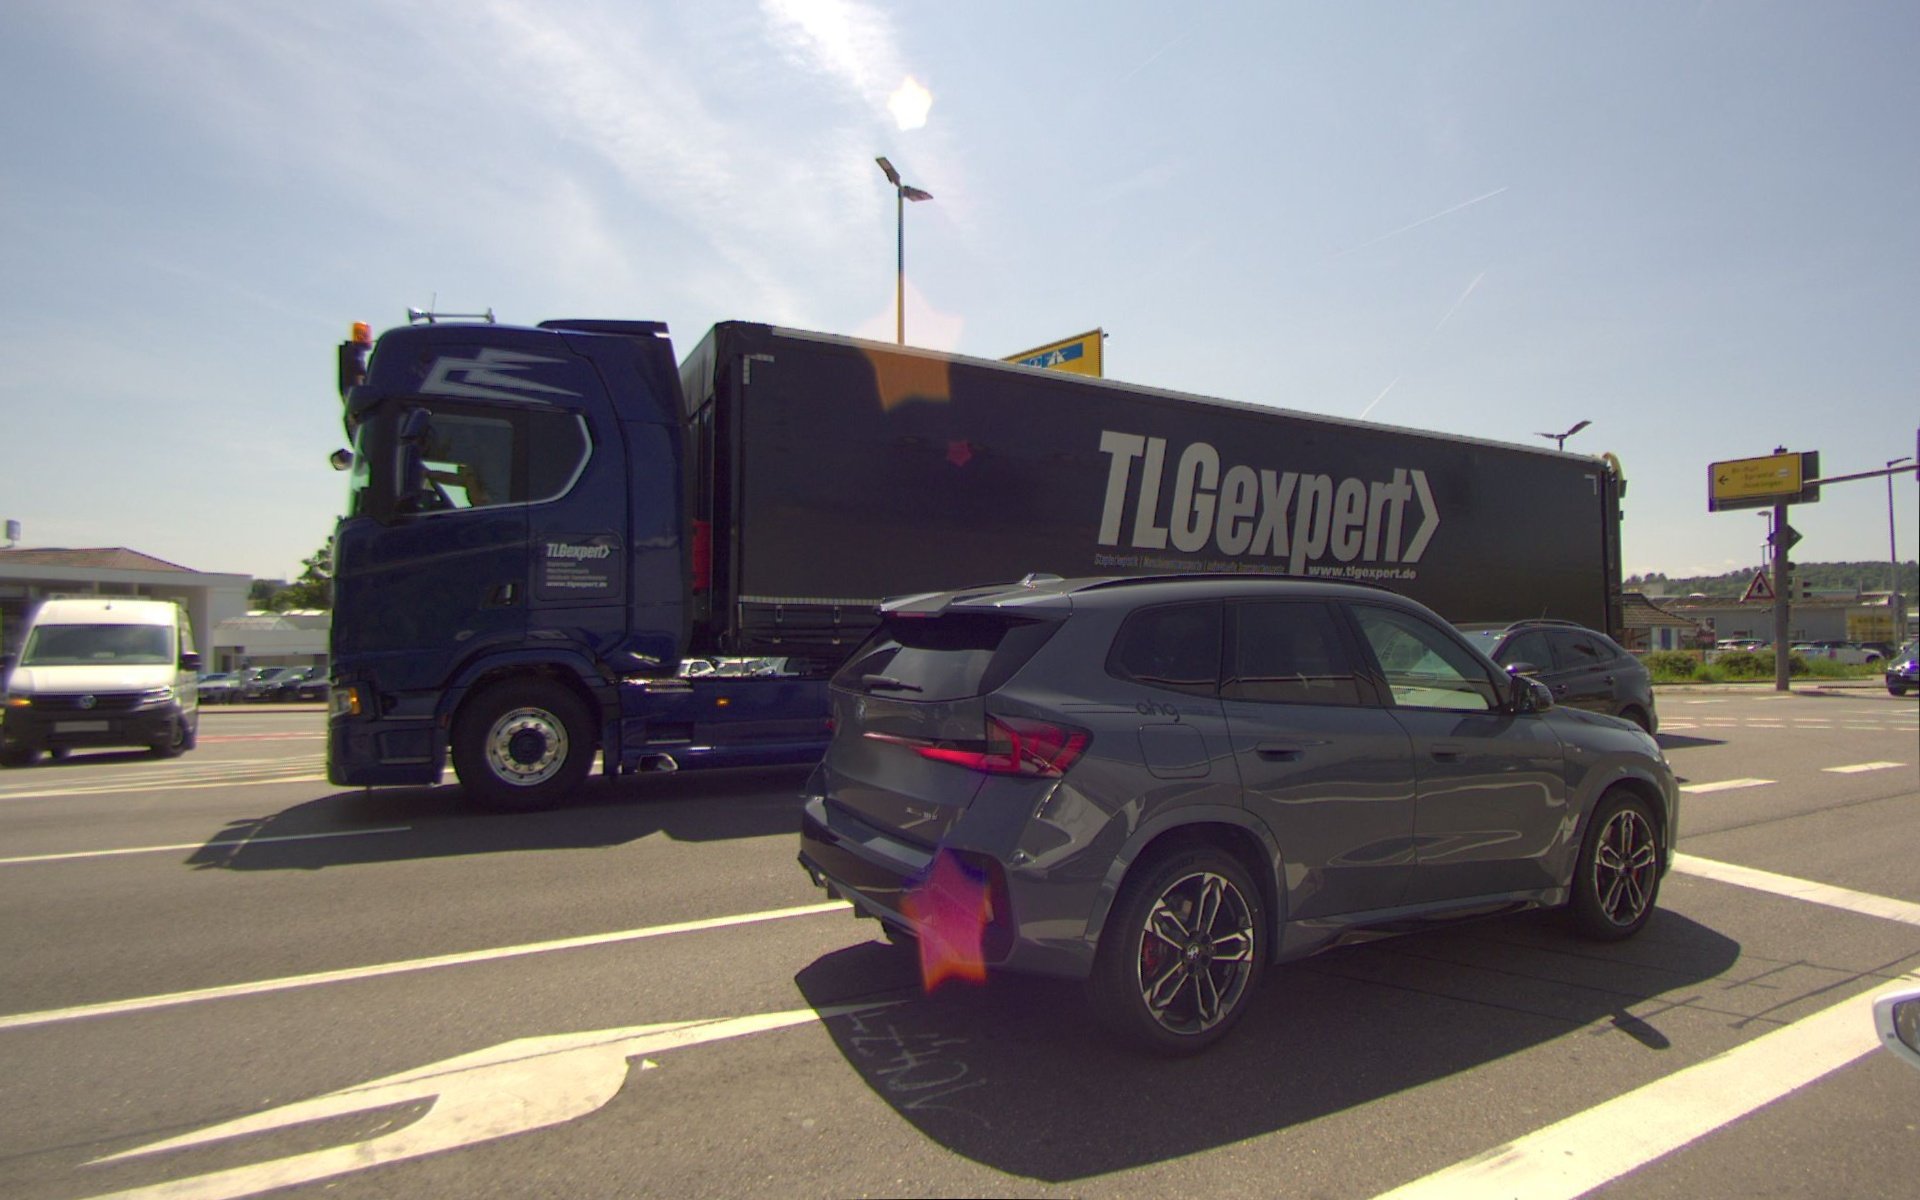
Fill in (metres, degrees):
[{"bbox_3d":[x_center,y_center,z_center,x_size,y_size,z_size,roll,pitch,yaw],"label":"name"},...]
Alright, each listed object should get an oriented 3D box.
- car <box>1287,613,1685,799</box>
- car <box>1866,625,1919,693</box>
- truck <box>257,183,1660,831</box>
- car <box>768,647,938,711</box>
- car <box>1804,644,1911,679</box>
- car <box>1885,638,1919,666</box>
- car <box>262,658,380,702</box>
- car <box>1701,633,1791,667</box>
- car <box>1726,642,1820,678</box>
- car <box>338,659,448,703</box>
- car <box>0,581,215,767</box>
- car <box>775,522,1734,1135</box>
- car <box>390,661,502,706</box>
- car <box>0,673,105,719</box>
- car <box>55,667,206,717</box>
[{"bbox_3d":[5.248,0.936,9.958,3.857,1.528,1.657,1,-2,-29],"label":"car"},{"bbox_3d":[24.517,1.446,24.859,4.194,1.603,1.818,1,-3,-29],"label":"car"},{"bbox_3d":[2.164,-0.438,12.345,17.324,4.406,3.133,1,-2,-29],"label":"truck"},{"bbox_3d":[-2.781,2.064,26.412,4.113,1.621,1.752,-1,-3,10],"label":"car"},{"bbox_3d":[49.198,3.354,55.143,3.919,1.817,2.001,0,-1,6],"label":"car"},{"bbox_3d":[57.200,3.058,59.196,3.516,1.680,1.792,0,-2,13],"label":"car"},{"bbox_3d":[-25.962,3.229,40.970,1.716,1.484,4.003,2,-1,11],"label":"car"},{"bbox_3d":[48.622,3.055,62.227,3.919,2.040,1.945,0,-1,7],"label":"car"},{"bbox_3d":[48.386,3.532,59.879,3.919,2.040,1.945,0,-1,7],"label":"car"},{"bbox_3d":[-23.090,3.269,41.086,1.716,1.484,4.003,2,-1,11],"label":"car"},{"bbox_3d":[-13.882,1.279,16.653,2.173,2.519,5.956,1,-6,-34],"label":"car"},{"bbox_3d":[1.516,0.674,4.604,4.319,1.648,1.785,1,-2,-31],"label":"car"},{"bbox_3d":[-20.779,3.347,40.814,1.959,1.484,4.003,2,-1,11],"label":"car"},{"bbox_3d":[-39.494,4.128,43.728,1.829,1.635,3.891,2,-1,-14],"label":"car"},{"bbox_3d":[-28.758,3.156,34.878,4.113,1.622,1.751,0,-2,10],"label":"car"}]
